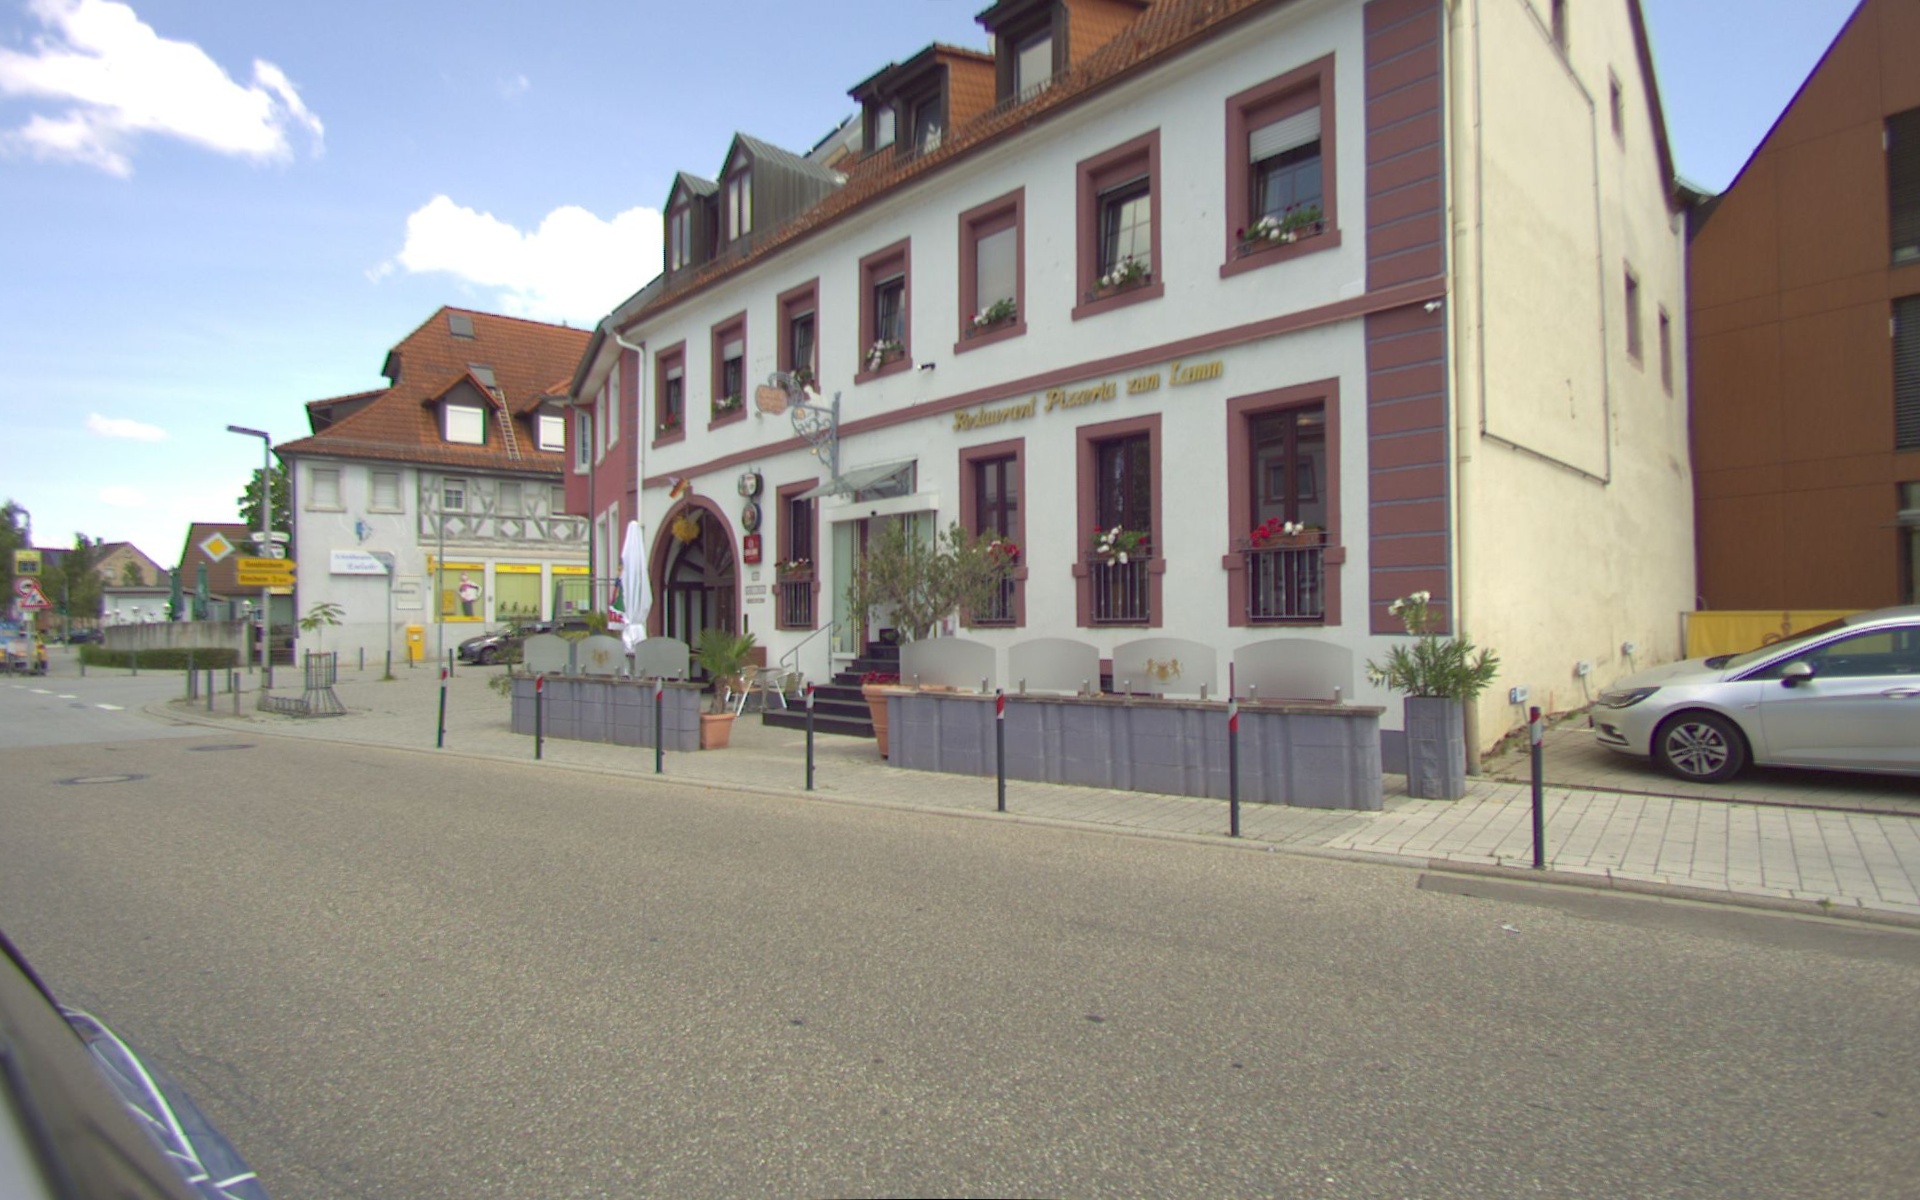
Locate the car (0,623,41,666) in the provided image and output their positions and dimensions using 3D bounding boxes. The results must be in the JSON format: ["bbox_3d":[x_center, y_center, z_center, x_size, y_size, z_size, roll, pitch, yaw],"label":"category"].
[{"bbox_3d":[-34.463,1.599,36.494,3.963,1.486,1.650,-2,-2,43],"label":"car"}]

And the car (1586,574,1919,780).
[{"bbox_3d":[7.878,0.577,8.398,4.276,1.503,1.739,-2,2,43],"label":"car"}]

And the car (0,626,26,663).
[{"bbox_3d":[-39.088,1.811,40.986,1.794,1.434,4.541,0,-2,-44],"label":"car"}]

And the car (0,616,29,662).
[{"bbox_3d":[-44.290,1.786,46.587,1.962,2.005,5.051,0,-2,-41],"label":"car"}]

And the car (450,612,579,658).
[{"bbox_3d":[-15.974,1.215,36.359,3.891,1.530,1.777,0,-1,-39],"label":"car"}]
